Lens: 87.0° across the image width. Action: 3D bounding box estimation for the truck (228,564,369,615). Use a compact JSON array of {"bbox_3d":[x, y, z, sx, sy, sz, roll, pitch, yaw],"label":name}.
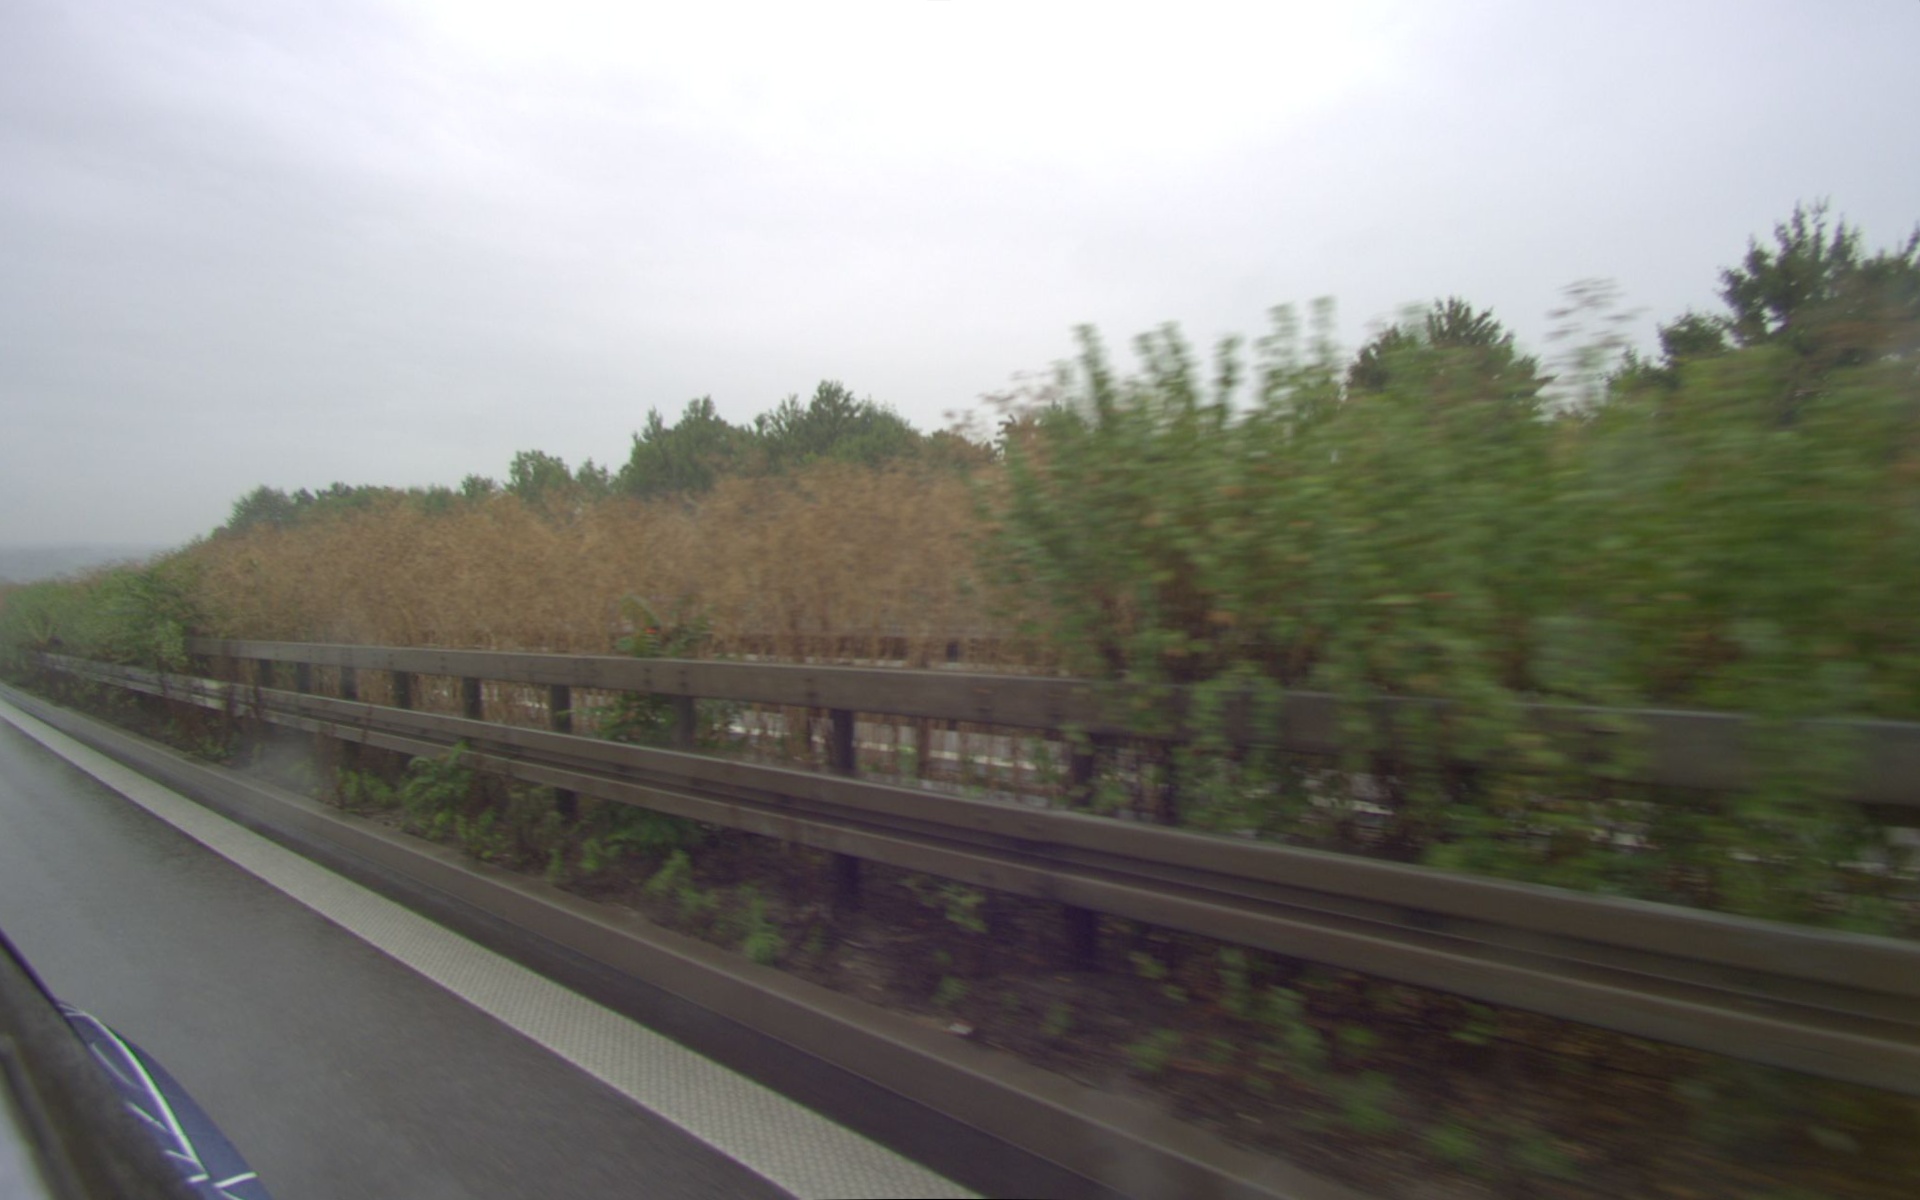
[{"bbox_3d":[-38.551,-0.466,58.504,16.080,2.336,3.128,-2,-1,43],"label":"truck"}]
